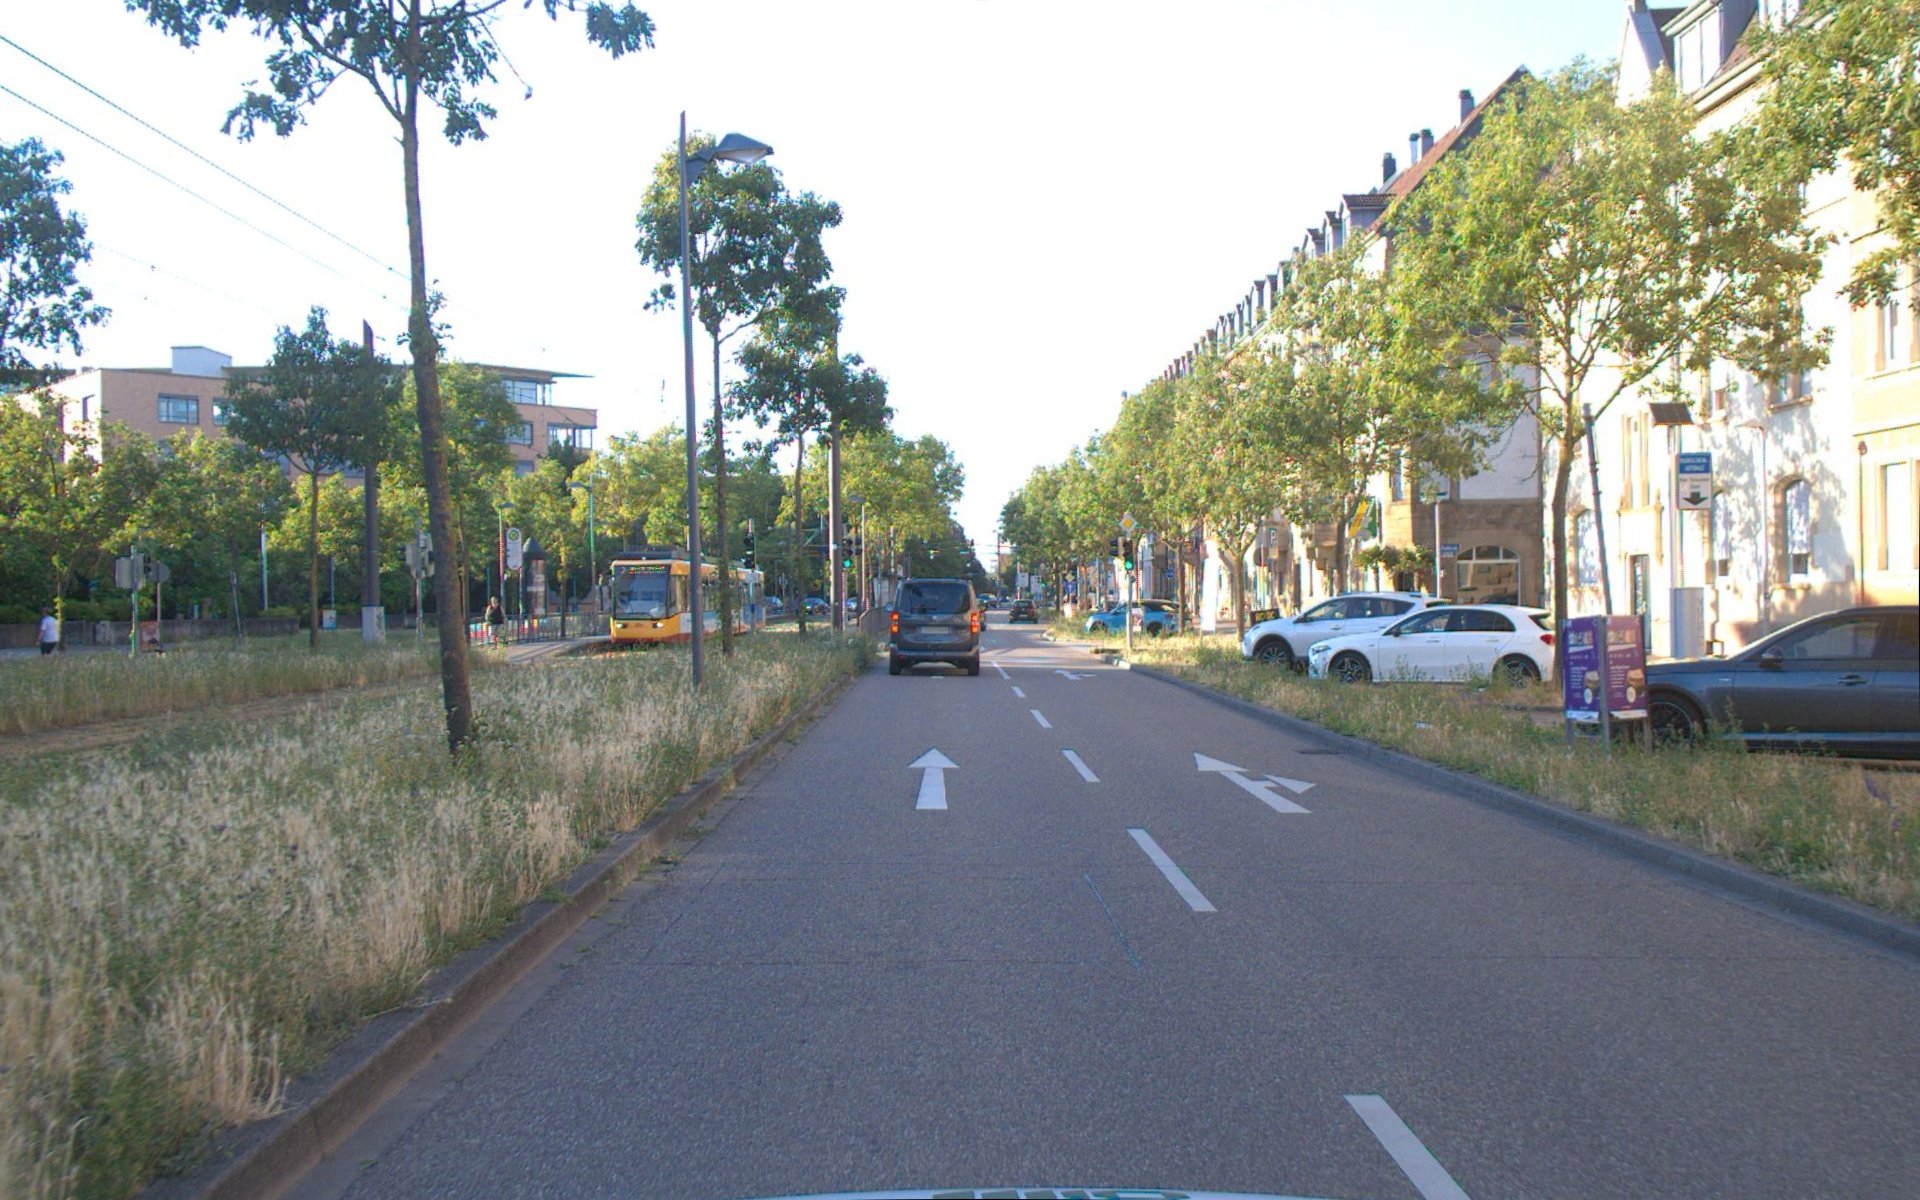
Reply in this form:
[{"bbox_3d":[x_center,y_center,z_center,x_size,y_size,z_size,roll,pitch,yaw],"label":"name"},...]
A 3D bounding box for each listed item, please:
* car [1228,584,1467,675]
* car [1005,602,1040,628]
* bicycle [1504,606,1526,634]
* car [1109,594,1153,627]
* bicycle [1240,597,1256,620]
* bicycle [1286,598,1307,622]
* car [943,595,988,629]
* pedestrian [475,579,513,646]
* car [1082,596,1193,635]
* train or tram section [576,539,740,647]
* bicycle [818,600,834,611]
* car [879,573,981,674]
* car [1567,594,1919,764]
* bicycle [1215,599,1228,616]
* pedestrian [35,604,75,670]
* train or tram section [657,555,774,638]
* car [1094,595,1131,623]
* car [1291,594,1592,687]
[{"bbox_3d":[7.819,0.555,33.510,4.342,1.721,1.910,0,0,35],"label":"car"},{"bbox_3d":[3.810,0.906,101.871,1.953,1.537,3.999,0,0,-1],"label":"car"},{"bbox_3d":[20.254,0.724,60.341,0.615,0.964,1.886,0,1,14],"label":"bicycle"},{"bbox_3d":[8.624,0.522,83.763,1.690,1.538,4.271,2,0,-1],"label":"car"},{"bbox_3d":[15.728,0.452,90.412,0.473,1.185,1.746,-6,0,0],"label":"bicycle"},{"bbox_3d":[15.901,0.451,78.122,0.560,1.092,1.896,-2,0,0],"label":"bicycle"},{"bbox_3d":[0.236,0.547,78.970,1.954,1.537,3.998,0,0,-3],"label":"car"},{"bbox_3d":[-14.609,0.394,51.870,0.915,2.049,0.957,-1,0,-1],"label":"pedestrian"},{"bbox_3d":[7.304,0.615,68.122,4.196,1.548,1.842,0,0,32],"label":"car"},{"bbox_3d":[-10.793,-0.221,61.216,3.361,3.490,15.026,-1,0,0],"label":"train or tram section"},{"bbox_3d":[-14.567,0.594,179.796,1.708,1.162,0.550,-1,0,-43],"label":"bicycle"},{"bbox_3d":[-0.578,0.454,34.295,1.953,1.934,4.299,1,0,0],"label":"car"},{"bbox_3d":[7.881,0.645,14.532,4.486,1.371,1.891,-1,0,33],"label":"car"},{"bbox_3d":[15.626,0.450,98.935,0.473,1.023,1.746,-1,0,0],"label":"bicycle"},{"bbox_3d":[-24.070,0.974,43.995,0.675,1.727,0.827,-1,0,-8],"label":"pedestrian"},{"bbox_3d":[-10.942,-0.144,75.708,3.361,3.398,13.856,-1,0,0],"label":"train or tram section"},{"bbox_3d":[8.564,0.472,93.227,1.669,1.474,4.288,2,0,0],"label":"car"},{"bbox_3d":[7.986,0.650,27.490,4.456,1.424,2.027,-1,-1,30],"label":"car"}]
